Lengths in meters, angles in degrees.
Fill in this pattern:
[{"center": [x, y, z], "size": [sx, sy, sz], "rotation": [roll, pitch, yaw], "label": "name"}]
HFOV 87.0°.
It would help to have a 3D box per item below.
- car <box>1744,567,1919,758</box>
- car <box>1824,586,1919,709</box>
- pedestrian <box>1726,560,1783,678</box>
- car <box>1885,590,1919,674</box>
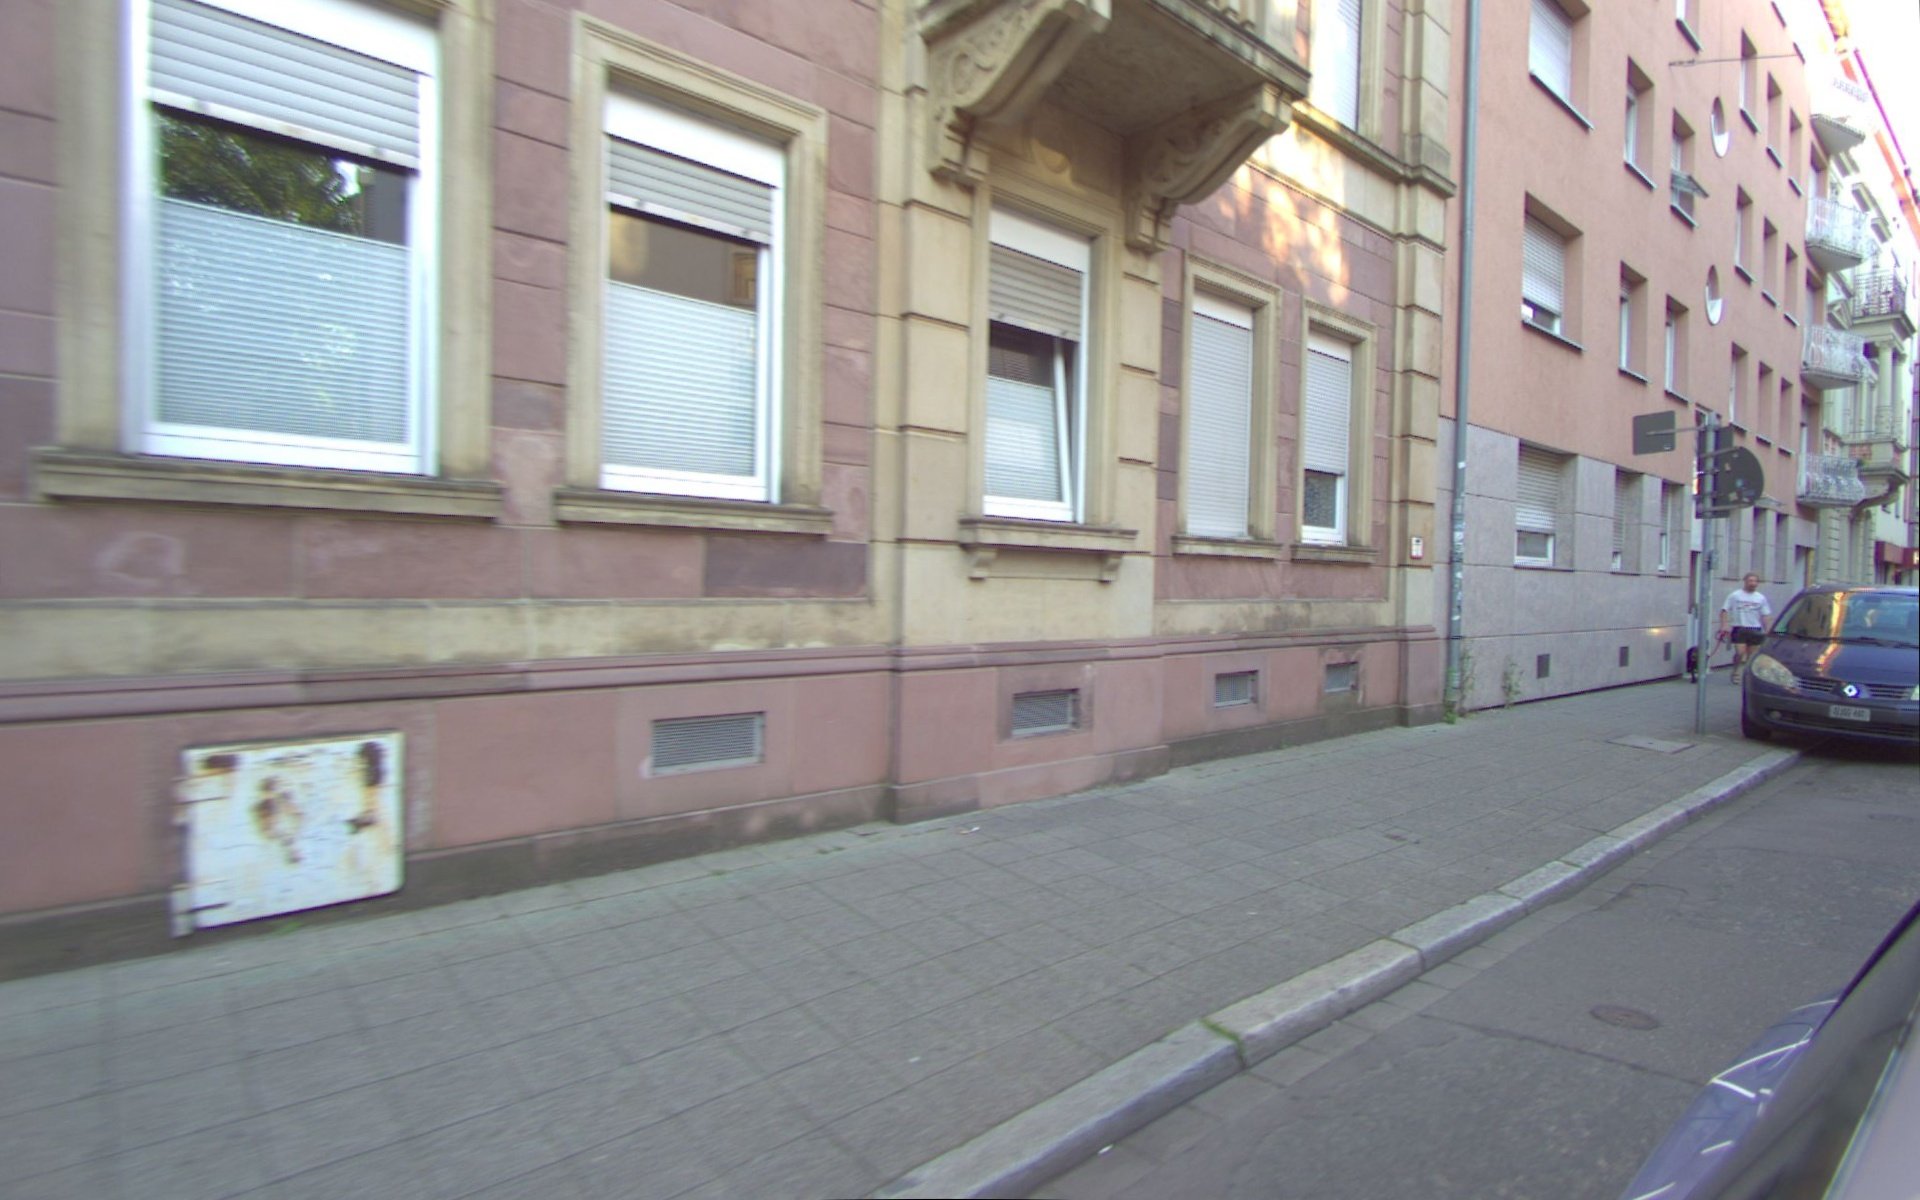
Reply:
[{"center": [9.553, 0.535, 10.351], "size": [3.984, 1.645, 1.692], "rotation": [0, 1, -42], "label": "car"}, {"center": [13.614, 0.605, 14.179], "size": [4.208, 1.532, 1.692], "rotation": [0, 1, -41], "label": "car"}, {"center": [12.272, 0.279, 15.635], "size": [0.558, 1.765, 0.550], "rotation": [1, 1, -42], "label": "pedestrian"}, {"center": [18.826, 0.584, 19.004], "size": [4.060, 1.476, 1.692], "rotation": [0, 1, -41], "label": "car"}]
